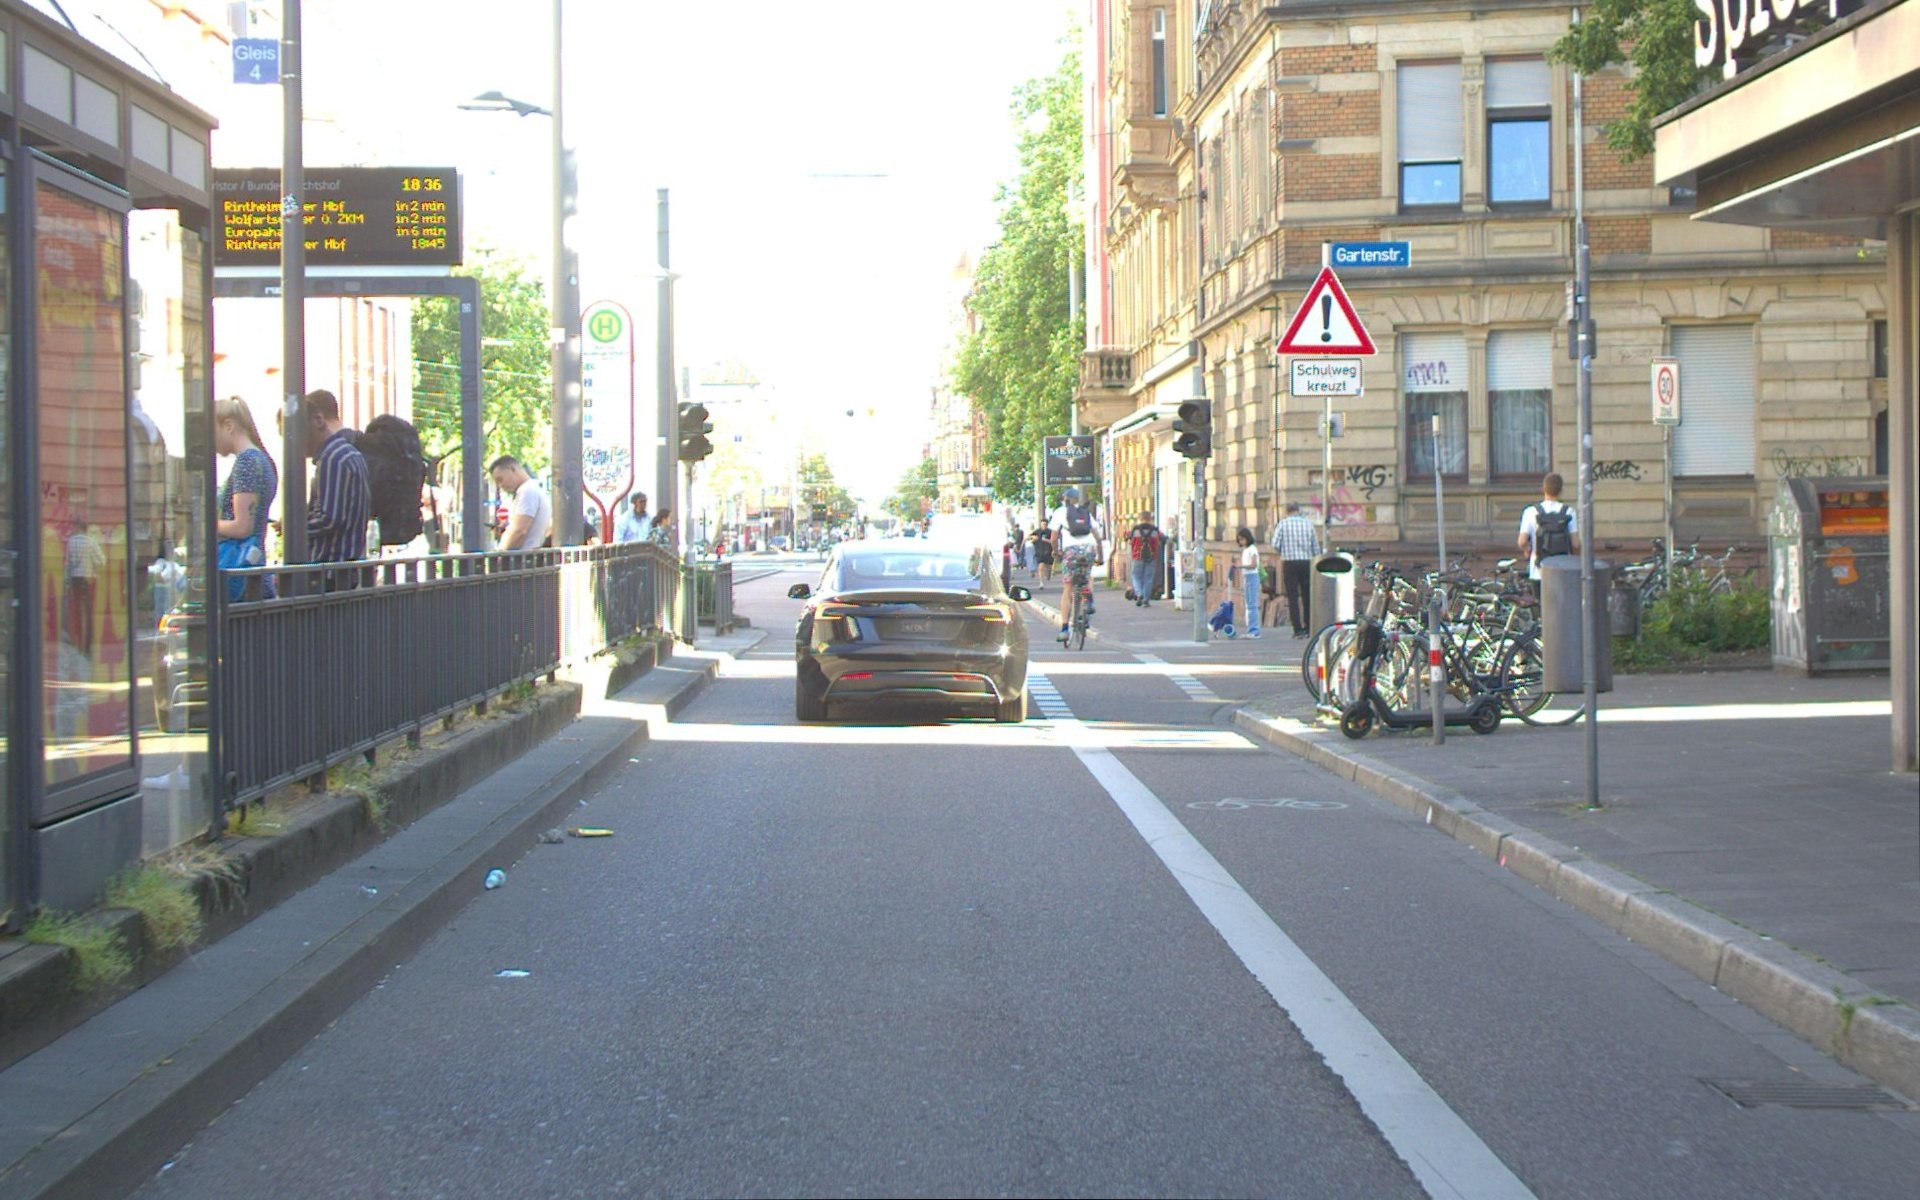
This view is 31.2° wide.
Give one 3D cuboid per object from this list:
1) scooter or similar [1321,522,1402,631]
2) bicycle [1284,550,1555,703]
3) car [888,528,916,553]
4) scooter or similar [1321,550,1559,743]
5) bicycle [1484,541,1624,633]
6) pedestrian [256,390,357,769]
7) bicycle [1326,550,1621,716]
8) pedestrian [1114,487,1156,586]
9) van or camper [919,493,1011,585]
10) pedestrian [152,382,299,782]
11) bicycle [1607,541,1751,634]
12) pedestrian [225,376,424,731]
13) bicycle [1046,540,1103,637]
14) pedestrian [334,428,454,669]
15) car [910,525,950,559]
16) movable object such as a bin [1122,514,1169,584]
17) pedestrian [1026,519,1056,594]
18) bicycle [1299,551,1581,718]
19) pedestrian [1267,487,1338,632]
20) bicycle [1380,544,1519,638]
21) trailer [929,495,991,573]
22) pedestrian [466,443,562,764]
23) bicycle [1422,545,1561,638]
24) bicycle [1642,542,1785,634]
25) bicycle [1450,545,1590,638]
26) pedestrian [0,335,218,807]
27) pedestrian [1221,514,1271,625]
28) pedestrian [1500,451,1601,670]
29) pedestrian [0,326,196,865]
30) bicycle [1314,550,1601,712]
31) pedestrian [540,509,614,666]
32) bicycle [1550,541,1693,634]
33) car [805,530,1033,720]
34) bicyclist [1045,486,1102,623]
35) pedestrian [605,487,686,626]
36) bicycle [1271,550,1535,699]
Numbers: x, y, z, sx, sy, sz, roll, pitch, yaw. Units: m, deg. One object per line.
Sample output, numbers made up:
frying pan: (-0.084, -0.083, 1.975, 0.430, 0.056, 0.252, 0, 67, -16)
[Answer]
scooter or similar: (4.835, -0.293, 41.464, 0.390, 1.285, 1.523, -1, 2, -17)
bicycle: (3.464, 0.193, 25.974, 1.945, 1.103, 0.564, -1, 1, -3)
car: (-3.396, -3.467, 201.043, 1.593, 1.428, 3.686, -1, 1, 0)
scooter or similar: (3.240, 0.305, 23.288, 1.478, 1.225, 0.591, -2, 1, 0)
bicycle: (7.318, -0.174, 42.396, 0.443, 1.111, 1.814, -2, 2, -42)
pedestrian: (-2.919, -0.096, 15.380, 0.351, 1.663, 0.529, 0, 1, -2)
bicycle: (3.568, 0.222, 23.946, 1.945, 1.103, 0.564, -1, 1, -3)
pedestrian: (3.096, -1.119, 60.740, 0.470, 1.722, 0.586, 0, 2, 35)
van or camper: (0.084, -1.385, 79.618, 1.931, 2.030, 5.476, 1, 1, -2)
pedestrian: (-3.073, -0.081, 14.421, 0.493, 1.643, 0.590, 0, 1, -2)
bicycle: (8.838, -0.166, 42.310, 0.443, 1.111, 1.814, -2, 2, -42)
pedestrian: (-3.370, -0.244, 18.206, 0.770, 1.825, 0.804, 1, 1, -31)
bicycle: (1.395, -0.151, 41.629, 0.647, 1.135, 2.095, 0, 1, 3)
pedestrian: (-4.114, -0.376, 25.041, 0.763, 1.728, 0.590, -1, 1, -1)
car: (-1.326, -2.515, 150.653, 1.710, 1.452, 4.551, 0, 1, -1)
movable object such as a bin: (3.572, -0.989, 66.337, 0.775, 1.343, 1.299, 0, 1, -3)
pedestrian: (1.980, -1.053, 83.663, 0.672, 1.808, 0.756, 0, 1, -2)
bicycle: (3.511, 0.245, 25.215, 1.945, 1.162, 0.628, -1, 1, -3)
pedestrian: (4.343, -0.523, 43.600, 0.847, 1.801, 0.876, -1, 2, 4)
bicycle: (5.938, -0.120, 41.795, 0.443, 1.111, 1.814, -2, 2, -41)
trailer: (0.005, -1.859, 97.024, 1.661, 2.109, 3.843, 1, 1, 0)
pedestrian: (-2.999, 0.014, 23.145, 0.537, 2.113, 0.808, -1, 1, -2)
bicycle: (6.469, -0.113, 41.924, 0.443, 1.111, 1.814, -2, 2, -41)
bicycle: (9.318, -0.163, 42.549, 0.443, 1.111, 1.814, -2, 2, -42)
bicycle: (6.858, -0.112, 42.188, 0.443, 1.111, 1.814, -2, 2, -42)
pedestrian: (-3.248, -0.117, 13.101, 0.689, 1.746, 0.748, 0, 1, -2)
pedestrian: (3.684, -0.392, 44.304, 0.574, 1.410, 0.580, 1, 1, 9)
pedestrian: (5.469, -0.353, 31.863, 0.716, 1.978, 0.943, 1, -2, -3)
pedestrian: (-3.010, -0.023, 11.622, 0.689, 1.759, 0.748, -1, 1, -2)
bicycle: (3.542, 0.215, 24.560, 1.945, 1.103, 0.564, -1, 1, -3)
pedestrian: (-3.287, -0.109, 29.506, 0.480, 1.324, 0.354, 0, 2, 29)
bicycle: (8.117, -0.165, 42.243, 0.443, 1.111, 1.814, -2, 2, -42)
car: (-0.381, 0.154, 27.977, 1.719, 1.400, 3.710, 1, 1, -2)
bicyclist: (1.379, -0.555, 41.651, 0.655, 1.650, 0.927, 0, 1, 4)
pedestrian: (-4.162, -0.582, 45.562, 0.594, 1.815, 0.940, 2, 1, 32)
bicycle: (3.419, 0.183, 26.621, 1.945, 1.103, 0.564, -1, 1, -3)
